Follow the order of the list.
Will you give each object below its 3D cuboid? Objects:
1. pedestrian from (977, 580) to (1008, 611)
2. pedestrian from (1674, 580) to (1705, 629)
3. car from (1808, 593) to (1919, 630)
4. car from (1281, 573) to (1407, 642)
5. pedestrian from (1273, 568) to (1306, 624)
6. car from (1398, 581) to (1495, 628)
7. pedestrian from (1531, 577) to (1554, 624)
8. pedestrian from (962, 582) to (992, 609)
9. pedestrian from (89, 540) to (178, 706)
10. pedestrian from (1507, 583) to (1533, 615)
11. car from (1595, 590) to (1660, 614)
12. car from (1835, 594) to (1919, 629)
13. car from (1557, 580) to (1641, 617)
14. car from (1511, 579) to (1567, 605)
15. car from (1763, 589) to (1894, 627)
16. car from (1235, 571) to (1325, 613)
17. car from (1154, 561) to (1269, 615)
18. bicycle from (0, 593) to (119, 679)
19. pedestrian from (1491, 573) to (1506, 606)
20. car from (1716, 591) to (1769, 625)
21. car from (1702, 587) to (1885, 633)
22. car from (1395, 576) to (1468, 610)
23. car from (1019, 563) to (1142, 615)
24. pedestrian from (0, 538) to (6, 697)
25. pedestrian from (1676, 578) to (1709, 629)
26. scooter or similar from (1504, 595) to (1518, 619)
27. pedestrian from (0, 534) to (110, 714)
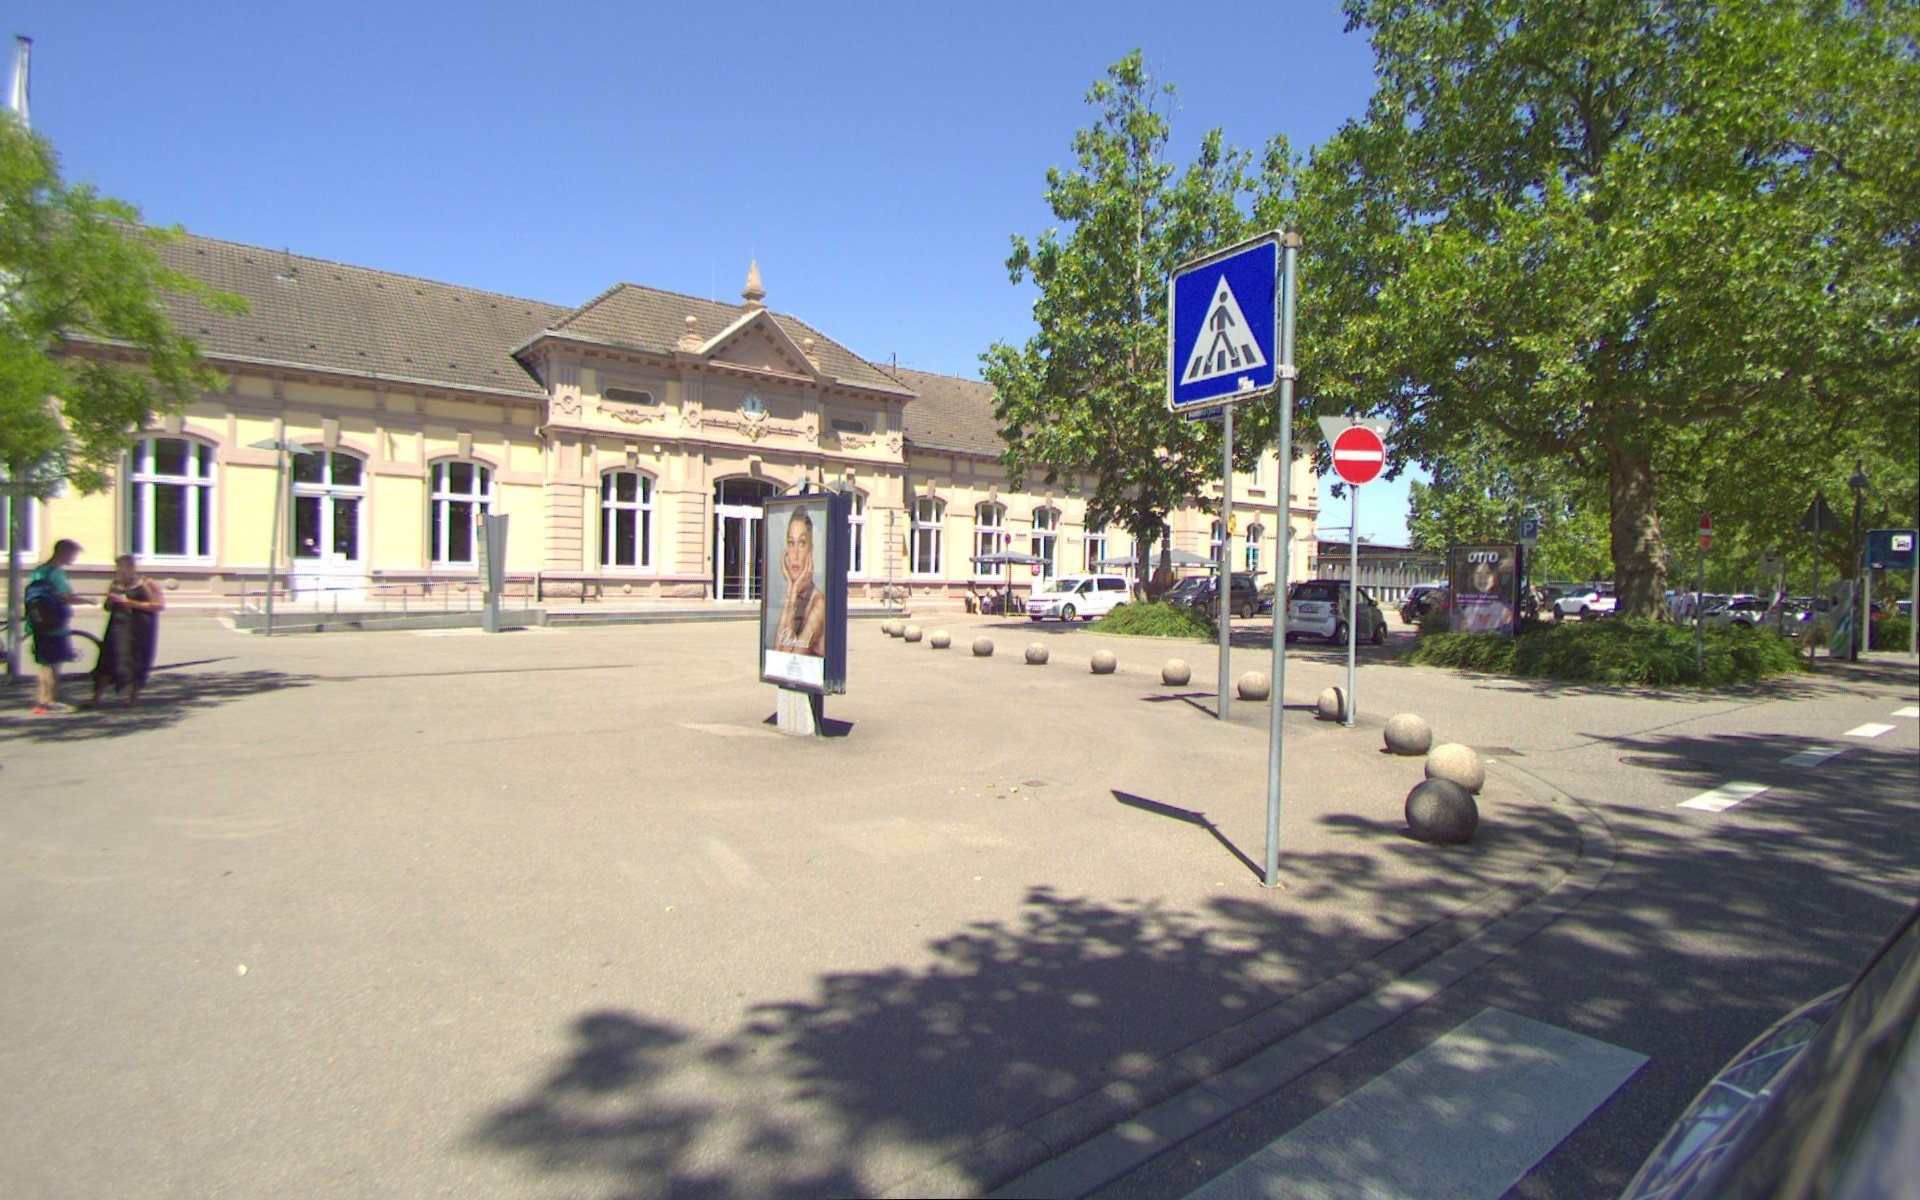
[{"bbox_3d":[1.327,-0.181,41.043,0.837,1.176,0.880,0,3,-43],"label":"pedestrian"},{"bbox_3d":[26.963,0.159,37.422,0.832,1.792,0.842,2,1,32],"label":"pedestrian"},{"bbox_3d":[40.103,0.490,44.603,3.833,1.478,1.624,2,1,23],"label":"car"},{"bbox_3d":[9.631,0.165,25.325,3.050,1.613,1.601,0,1,-39],"label":"car"},{"bbox_3d":[10.499,-0.133,32.262,0.760,1.738,0.814,1,1,4],"label":"pedestrian"},{"bbox_3d":[18.513,0.123,38.748,1.768,1.562,4.527,0,2,4],"label":"car"},{"bbox_3d":[19.949,0.022,34.652,0.584,1.567,0.605,2,1,26],"label":"pedestrian"},{"bbox_3d":[0.698,-0.186,41.742,0.837,1.093,0.880,0,3,-43],"label":"pedestrian"},{"bbox_3d":[-9.063,0.234,11.102,0.621,1.761,0.543,1,1,26],"label":"pedestrian"},{"bbox_3d":[25.655,-0.068,46.375,0.786,1.442,0.691,1,1,2],"label":"pedestrian"},{"bbox_3d":[42.044,0.087,63.800,1.770,1.420,3.513,1,1,1],"label":"car"},{"bbox_3d":[42.960,0.542,46.485,3.833,1.478,1.624,2,1,23],"label":"car"},{"bbox_3d":[31.092,-0.115,49.352,1.769,1.624,4.059,0,2,5],"label":"car"},{"bbox_3d":[40.872,-0.574,71.439,4.171,1.812,1.998,-1,0,-38],"label":"car"},{"bbox_3d":[36.789,0.321,42.979,3.833,1.478,1.624,2,1,23],"label":"car"},{"bbox_3d":[15.060,-0.352,47.496,4.761,1.863,2.075,1,0,-45],"label":"car"},{"bbox_3d":[10.822,-0.473,43.270,5.730,2.151,2.088,1,0,-45],"label":"car"},{"bbox_3d":[-12.157,0.456,13.124,1.915,1.073,0.421,-1,1,-42],"label":"bicycle"},{"bbox_3d":[33.363,-0.644,62.685,0.607,2.015,0.627,0,-1,-44],"label":"pedestrian"},{"bbox_3d":[46.940,0.463,60.787,1.722,1.917,3.963,2,1,27],"label":"car"},{"bbox_3d":[29.310,0.317,35.809,4.742,1.434,1.766,2,1,32],"label":"car"},{"bbox_3d":[26.499,-0.387,56.780,5.232,1.864,1.999,0,0,-45],"label":"car"},{"bbox_3d":[4.676,-0.385,38.723,5.050,1.889,1.812,1,0,-42],"label":"car"},{"bbox_3d":[-10.988,0.188,11.107,0.579,1.761,0.595,1,1,25],"label":"pedestrian"},{"bbox_3d":[26.442,0.117,36.537,0.832,1.792,0.843,2,1,30],"label":"pedestrian"},{"bbox_3d":[25.559,0.331,46.955,0.430,1.115,0.403,1,1,2],"label":"scooter or similar"},{"bbox_3d":[-9.300,0.230,10.401,0.683,1.786,0.583,1,1,15],"label":"pedestrian"}]
